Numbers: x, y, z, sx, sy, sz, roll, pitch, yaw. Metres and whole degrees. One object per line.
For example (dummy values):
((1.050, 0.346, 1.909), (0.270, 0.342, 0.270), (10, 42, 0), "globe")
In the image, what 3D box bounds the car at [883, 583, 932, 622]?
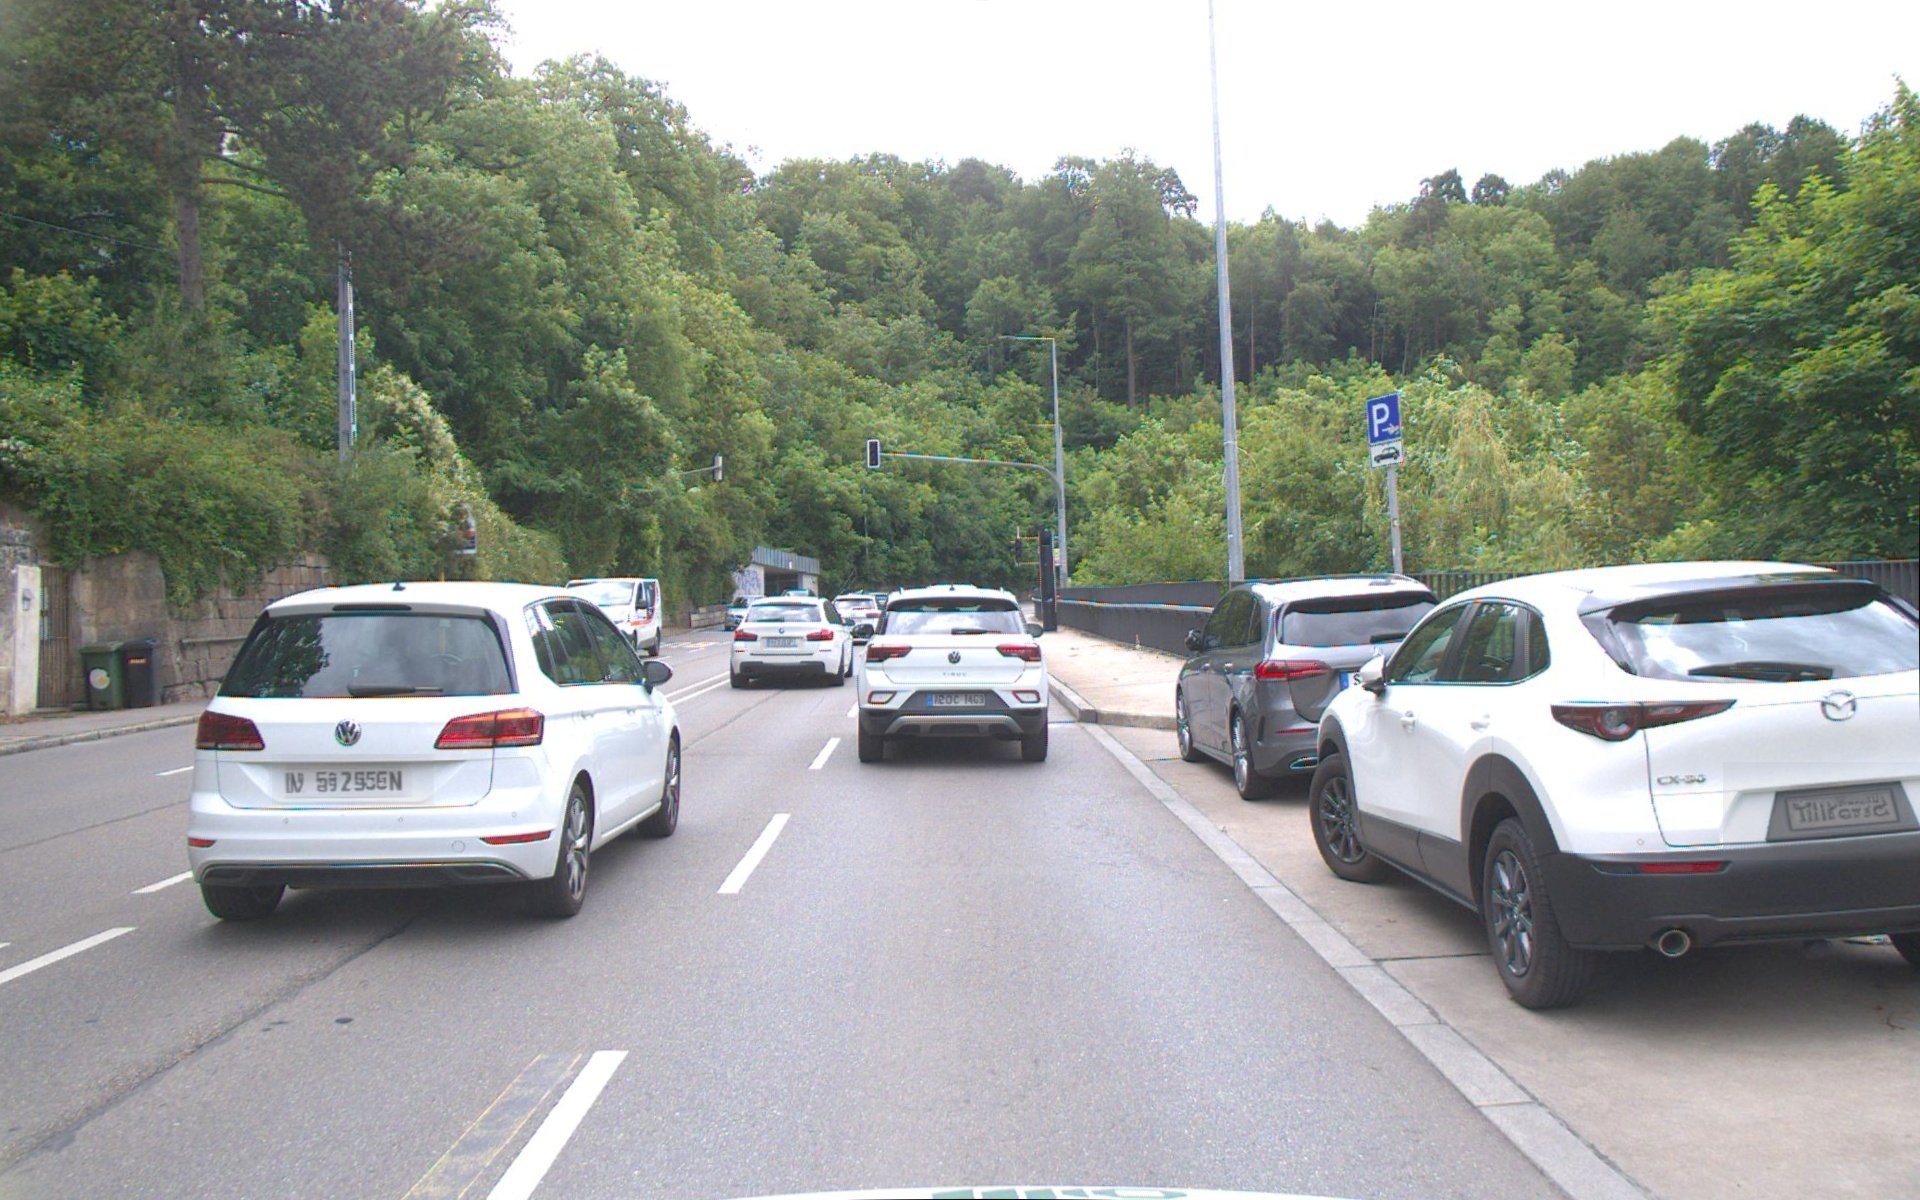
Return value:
((-2.623, 0.129, 83.465), (1.951, 1.897, 4.003), (-1, 0, 5), "car")

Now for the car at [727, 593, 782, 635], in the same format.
((-8.322, 0.546, 67.235), (1.641, 1.467, 4.235), (1, 3, 1), "car")

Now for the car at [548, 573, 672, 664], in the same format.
((-8.464, 0.420, 40.502), (1.882, 2.040, 5.355), (-1, 0, 0), "car")

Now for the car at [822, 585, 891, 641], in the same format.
((-3.090, 0.370, 49.980), (1.824, 1.623, 4.000), (1, 0, 0), "car")

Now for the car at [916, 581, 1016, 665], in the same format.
((0.204, 0.527, 39.260), (1.951, 1.875, 4.153), (0, 0, 6), "car")

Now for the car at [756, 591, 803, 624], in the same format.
((-8.994, 0.381, 82.719), (1.902, 1.576, 4.248), (-2, 0, 0), "car")

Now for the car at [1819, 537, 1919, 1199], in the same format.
((3.025, 0.604, 1.991), (1.626, 1.599, 4.254), (-4, 0, -1), "car")

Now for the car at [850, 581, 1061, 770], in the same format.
((-0.078, 0.652, 16.253), (1.777, 1.566, 4.007), (-2, 0, -1), "car")

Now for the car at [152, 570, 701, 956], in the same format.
((-2.561, 0.673, 9.048), (1.685, 1.581, 4.274), (-1, 0, -1), "car")

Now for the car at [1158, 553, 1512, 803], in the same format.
((2.818, 0.524, 13.464), (1.721, 1.570, 4.426), (-4, 0, -1), "car")

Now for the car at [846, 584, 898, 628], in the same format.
((-3.659, 0.247, 69.455), (1.953, 1.771, 4.000), (-1, 0, 0), "car")

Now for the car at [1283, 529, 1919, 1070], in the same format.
((2.793, 0.597, 7.347), (1.691, 1.596, 4.623), (-3, 0, -1), "car")

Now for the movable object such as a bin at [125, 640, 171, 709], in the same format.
((-11.457, 1.050, 23.351), (0.469, 0.952, 0.365), (1, -1, -5), "movable object such as a bin")

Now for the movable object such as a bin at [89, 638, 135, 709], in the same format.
((-11.953, 1.036, 23.316), (0.468, 0.988, 0.367), (1, -1, -5), "movable object such as a bin")

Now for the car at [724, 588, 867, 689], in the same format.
((-2.719, 0.594, 28.351), (1.952, 1.585, 4.681), (0, 0, 0), "car")
